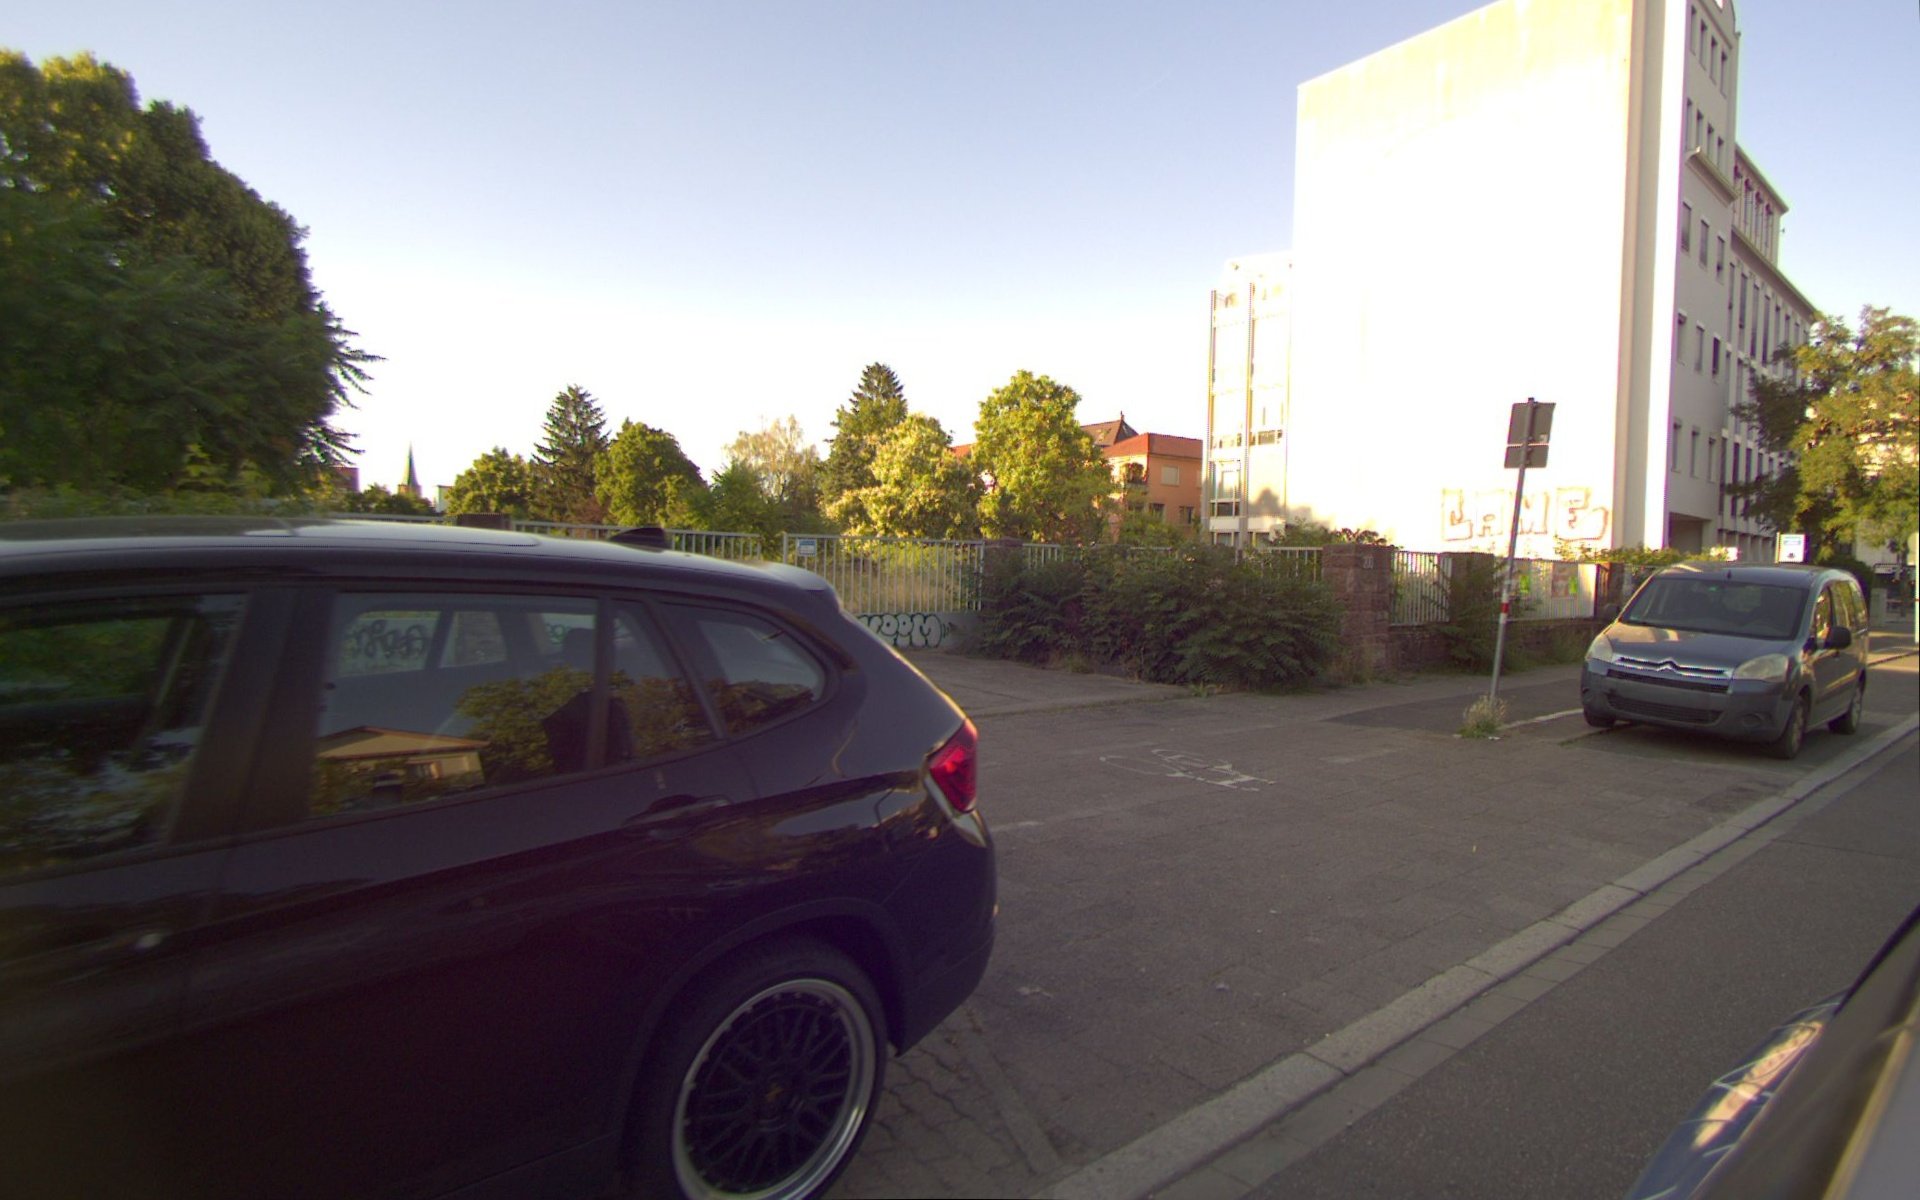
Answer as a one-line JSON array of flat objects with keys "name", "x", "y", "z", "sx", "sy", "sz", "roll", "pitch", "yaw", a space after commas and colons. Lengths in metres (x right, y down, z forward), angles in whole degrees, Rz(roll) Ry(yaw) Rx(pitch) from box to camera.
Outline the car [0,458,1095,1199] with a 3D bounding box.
[{"name": "car", "x": -1.936, "y": 0.533, "z": 1.985, "sx": 4.419, "sy": 1.593, "sz": 1.779, "roll": -1, "pitch": 5, "yaw": -40}]

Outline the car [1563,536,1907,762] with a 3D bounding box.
[{"name": "car", "x": 8.256, "y": 0.353, "z": 10.632, "sx": 4.473, "sy": 1.850, "sz": 1.779, "roll": -1, "pitch": 5, "yaw": -39}]
